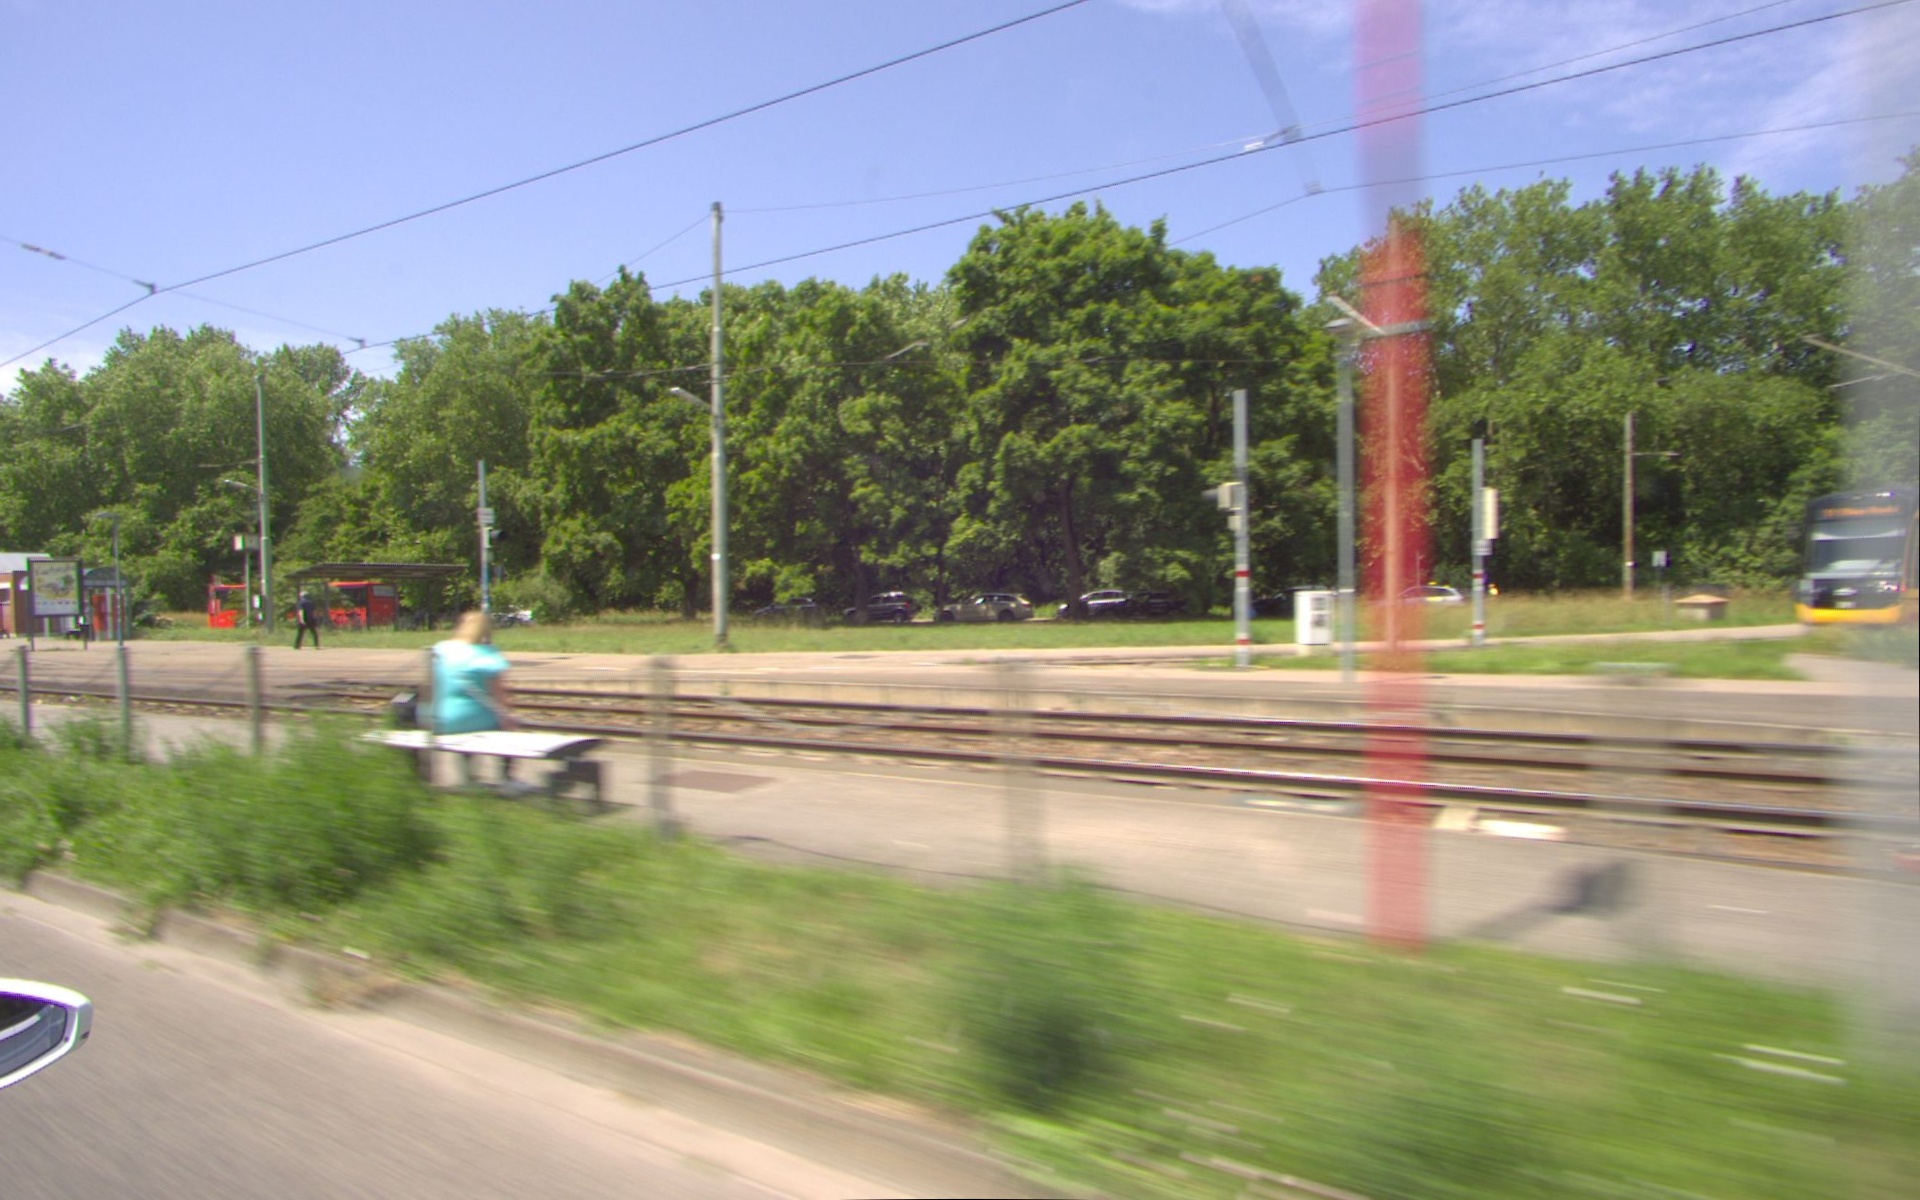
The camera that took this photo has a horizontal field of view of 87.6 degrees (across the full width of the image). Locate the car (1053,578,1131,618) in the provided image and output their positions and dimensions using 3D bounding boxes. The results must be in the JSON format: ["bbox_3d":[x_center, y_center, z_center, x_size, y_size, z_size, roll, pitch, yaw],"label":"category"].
[{"bbox_3d":[7.057,-0.086,53.438,3.925,2.041,1.998,-1,1,12],"label":"car"}]

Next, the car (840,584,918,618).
[{"bbox_3d":[-4.469,0.047,55.589,3.924,1.795,1.998,-1,1,10],"label":"car"}]

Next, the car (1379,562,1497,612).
[{"bbox_3d":[20.836,-0.554,43.776,4.232,2.041,1.957,-1,1,9],"label":"car"}]

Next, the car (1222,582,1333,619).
[{"bbox_3d":[14.136,0.010,44.786,4.526,1.560,1.704,-1,1,9],"label":"car"}]

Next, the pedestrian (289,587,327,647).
[{"bbox_3d":[-19.588,0.501,30.101,0.648,1.788,0.704,0,2,32],"label":"pedestrian"}]

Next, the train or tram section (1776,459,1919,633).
[{"bbox_3d":[25.445,-1.124,25.620,12.997,3.696,2.702,0,-1,-31],"label":"train or tram section"}]

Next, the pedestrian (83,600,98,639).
[{"bbox_3d":[-37.096,0.834,42.716,0.604,1.617,0.359,-1,-1,36],"label":"pedestrian"}]

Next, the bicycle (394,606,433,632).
[{"bbox_3d":[-25.460,0.875,46.631,2.158,1.102,0.596,2,3,32],"label":"bicycle"}]

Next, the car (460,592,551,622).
[{"bbox_3d":[-27.319,0.408,60.258,4.636,1.651,1.998,-1,1,10],"label":"car"}]

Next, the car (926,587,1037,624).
[{"bbox_3d":[1.062,0.266,47.774,4.962,1.633,2.122,-1,1,13],"label":"car"}]

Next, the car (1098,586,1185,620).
[{"bbox_3d":[8.290,0.130,45.992,3.869,1.442,1.957,-1,1,9],"label":"car"}]

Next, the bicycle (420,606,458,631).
[{"bbox_3d":[-24.748,0.887,47.561,2.158,1.102,0.596,2,3,32],"label":"bicycle"}]

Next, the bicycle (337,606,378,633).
[{"bbox_3d":[-26.787,0.837,44.513,2.158,1.102,0.596,2,3,32],"label":"bicycle"}]

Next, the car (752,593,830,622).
[{"bbox_3d":[-9.535,0.405,56.640,3.924,1.531,1.886,-1,1,11],"label":"car"}]

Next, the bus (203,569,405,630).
[{"bbox_3d":[-41.379,0.034,63.178,12.210,3.483,2.767,-1,-1,11],"label":"bus"}]

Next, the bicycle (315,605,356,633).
[{"bbox_3d":[-27.260,0.820,43.716,2.158,1.102,0.596,2,3,32],"label":"bicycle"}]

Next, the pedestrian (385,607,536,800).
[{"bbox_3d":[-3.160,0.626,6.348,0.611,1.143,0.609,-1,-1,28],"label":"pedestrian"}]
